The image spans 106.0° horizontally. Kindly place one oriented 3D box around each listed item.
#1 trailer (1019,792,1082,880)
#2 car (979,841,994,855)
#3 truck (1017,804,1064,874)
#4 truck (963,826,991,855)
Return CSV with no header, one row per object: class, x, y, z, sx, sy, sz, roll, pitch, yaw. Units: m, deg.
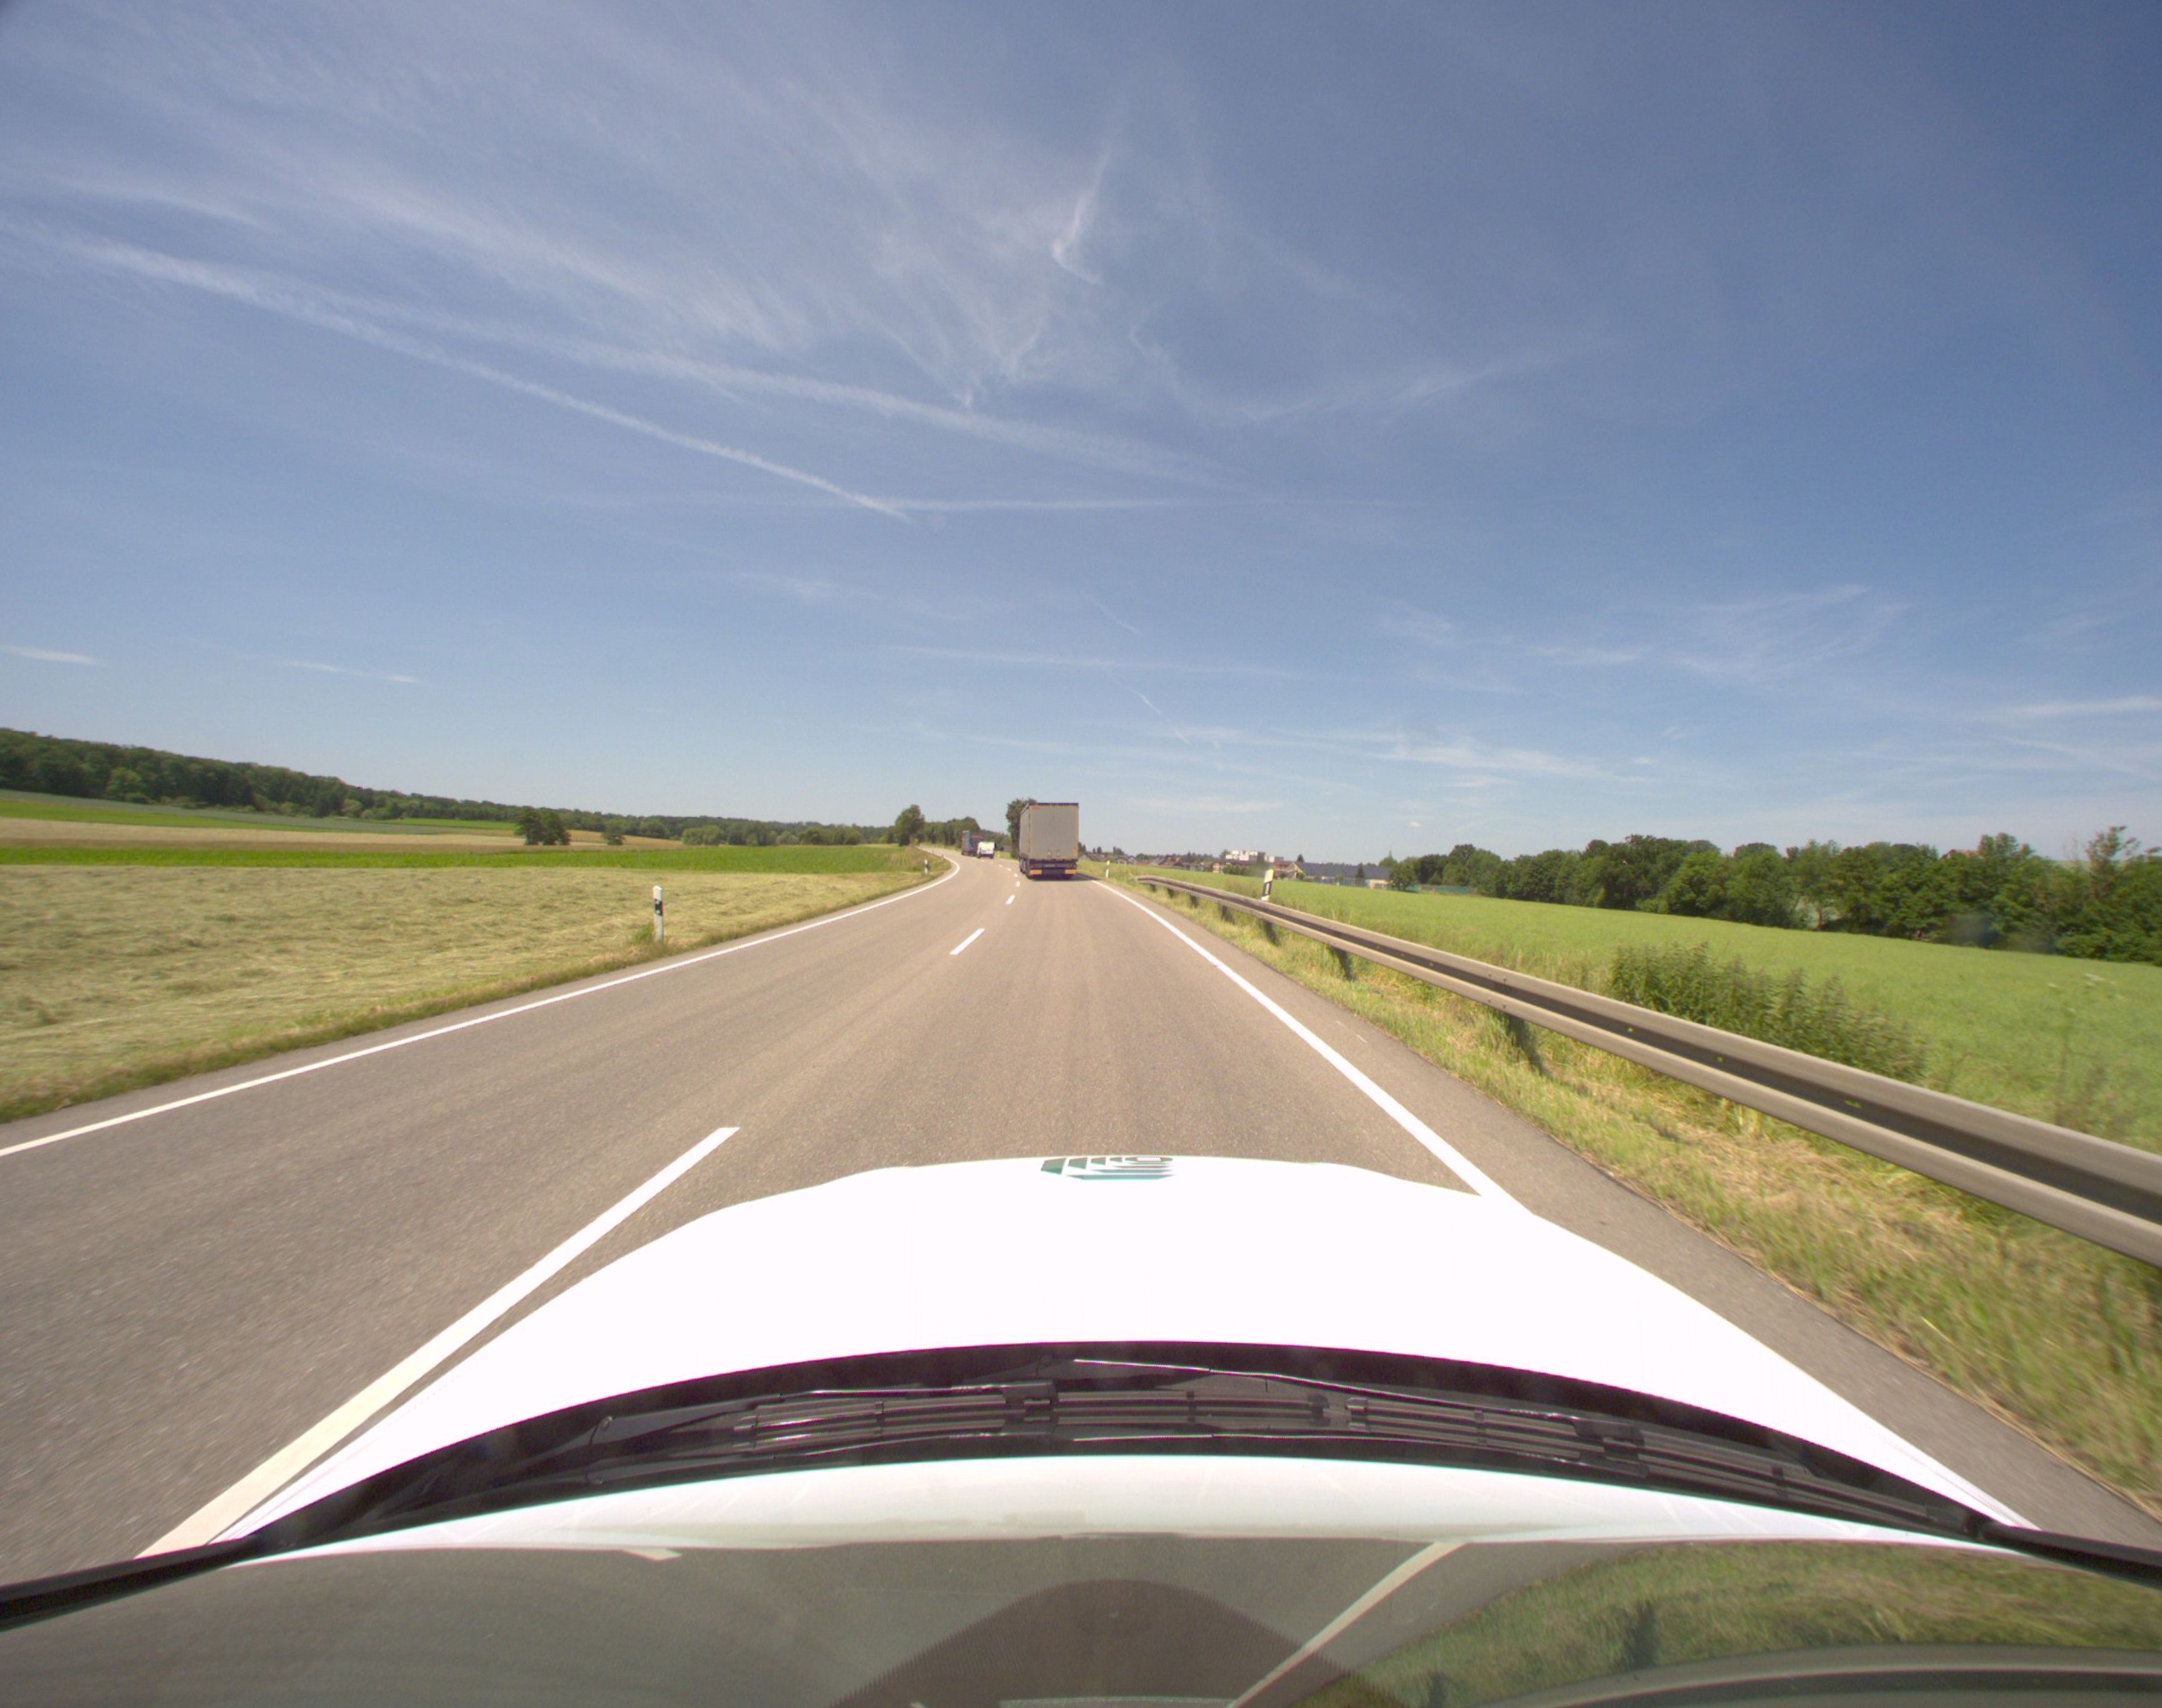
trailer,-2.059,-0.945,47.703,2.863,4.400,13.466,-1,0,-6
car,-12.968,-0.813,111.865,1.726,1.872,3.985,1,0,-11
truck,-2.767,-0.980,54.690,2.855,4.400,5.061,-1,0,-6
truck,-17.604,-2.221,136.626,3.550,4.392,18.057,2,0,-10
